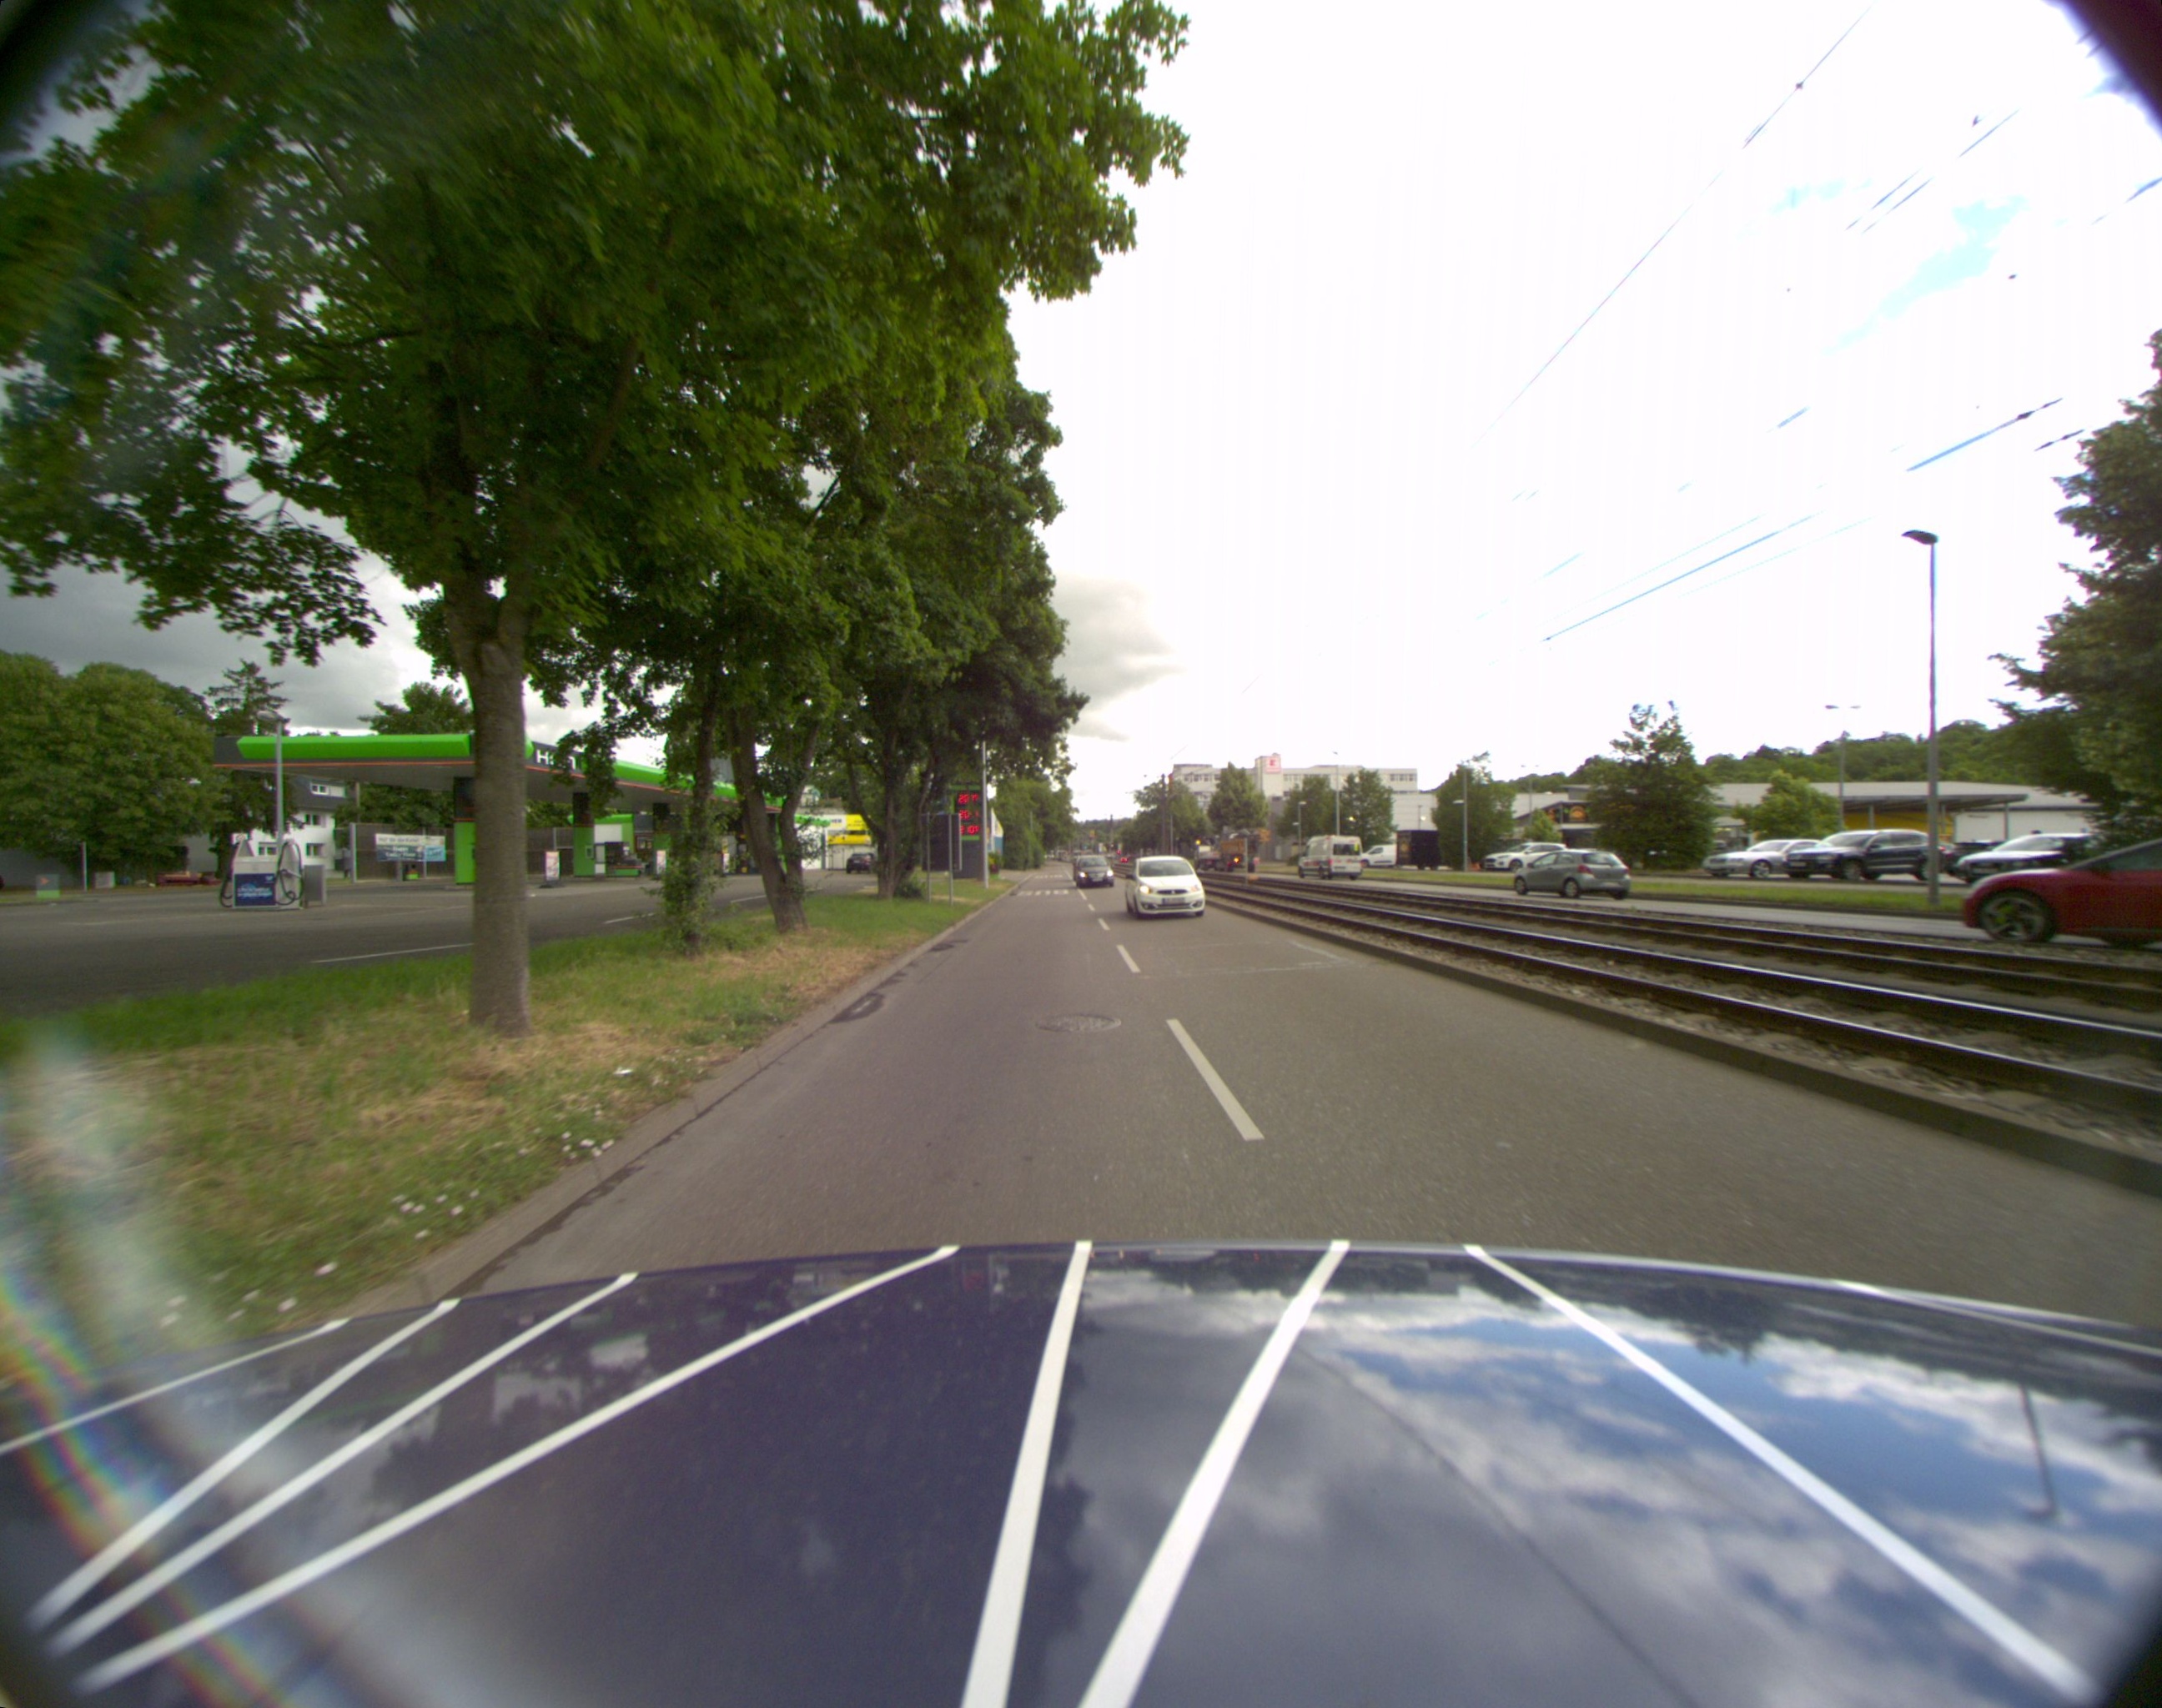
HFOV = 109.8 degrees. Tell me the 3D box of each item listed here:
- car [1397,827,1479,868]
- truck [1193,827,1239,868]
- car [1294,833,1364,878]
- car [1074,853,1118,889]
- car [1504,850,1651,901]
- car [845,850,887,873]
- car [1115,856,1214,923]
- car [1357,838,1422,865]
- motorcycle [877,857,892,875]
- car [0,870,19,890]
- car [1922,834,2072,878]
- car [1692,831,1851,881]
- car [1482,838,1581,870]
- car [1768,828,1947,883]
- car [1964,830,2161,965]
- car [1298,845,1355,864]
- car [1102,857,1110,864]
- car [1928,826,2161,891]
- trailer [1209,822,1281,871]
[{"bbox_3d":[24.161,-0.430,51.582,4.482,2.733,2.288,0,1,-2],"label":"car"},{"bbox_3d":[13.785,-0.620,78.424,2.900,3.943,8.629,0,0,-2],"label":"truck"},{"bbox_3d":[14.607,0.093,45.177,1.874,2.484,5.998,1,0,-3],"label":"car"},{"bbox_3d":[0.720,0.806,38.166,1.787,1.614,3.998,-3,0,-4],"label":"car"},{"bbox_3d":[15.838,0.641,24.526,1.999,1.474,3.999,1,0,-3],"label":"car"},{"bbox_3d":[-16.599,0.544,58.859,1.999,1.629,4.326,2,0,-1],"label":"car"},{"bbox_3d":[2.009,0.824,19.487,1.787,1.435,3.998,-3,0,-4],"label":"car"},{"bbox_3d":[24.699,-0.211,61.008,4.356,1.908,2.000,-3,1,1],"label":"car"},{"bbox_3d":[-13.768,0.826,53.234,0.705,1.180,2.387,-1,0,-8],"label":"motorcycle"},{"bbox_3d":[-66.698,1.596,45.201,3.999,1.212,1.842,-1,0,-7],"label":"car"},{"bbox_3d":[36.311,0.078,30.184,3.739,1.481,1.951,-3,0,-4],"label":"car"},{"bbox_3d":[25.048,0.066,27.673,3.998,1.498,2.001,-3,0,-2],"label":"car"},{"bbox_3d":[25.094,0.002,42.411,4.483,1.498,1.794,-3,1,-5],"label":"car"},{"bbox_3d":[25.595,0.046,25.146,3.998,1.498,1.937,-3,0,-2],"label":"car"},{"bbox_3d":[13.570,0.515,8.597,1.788,1.573,4.480,0,0,-4],"label":"car"},{"bbox_3d":[22.875,0.025,70.843,4.612,1.484,2.000,-3,0,1],"label":"car"},{"bbox_3d":[7.956,2.014,242.377,1.999,2.002,3.998,-3,0,-4],"label":"car"},{"bbox_3d":[25.633,0.107,20.269,3.998,1.413,1.937,-3,0,-2],"label":"car"},{"bbox_3d":[14.104,-0.606,66.914,2.678,3.874,14.422,1,0,-2],"label":"trailer"}]
